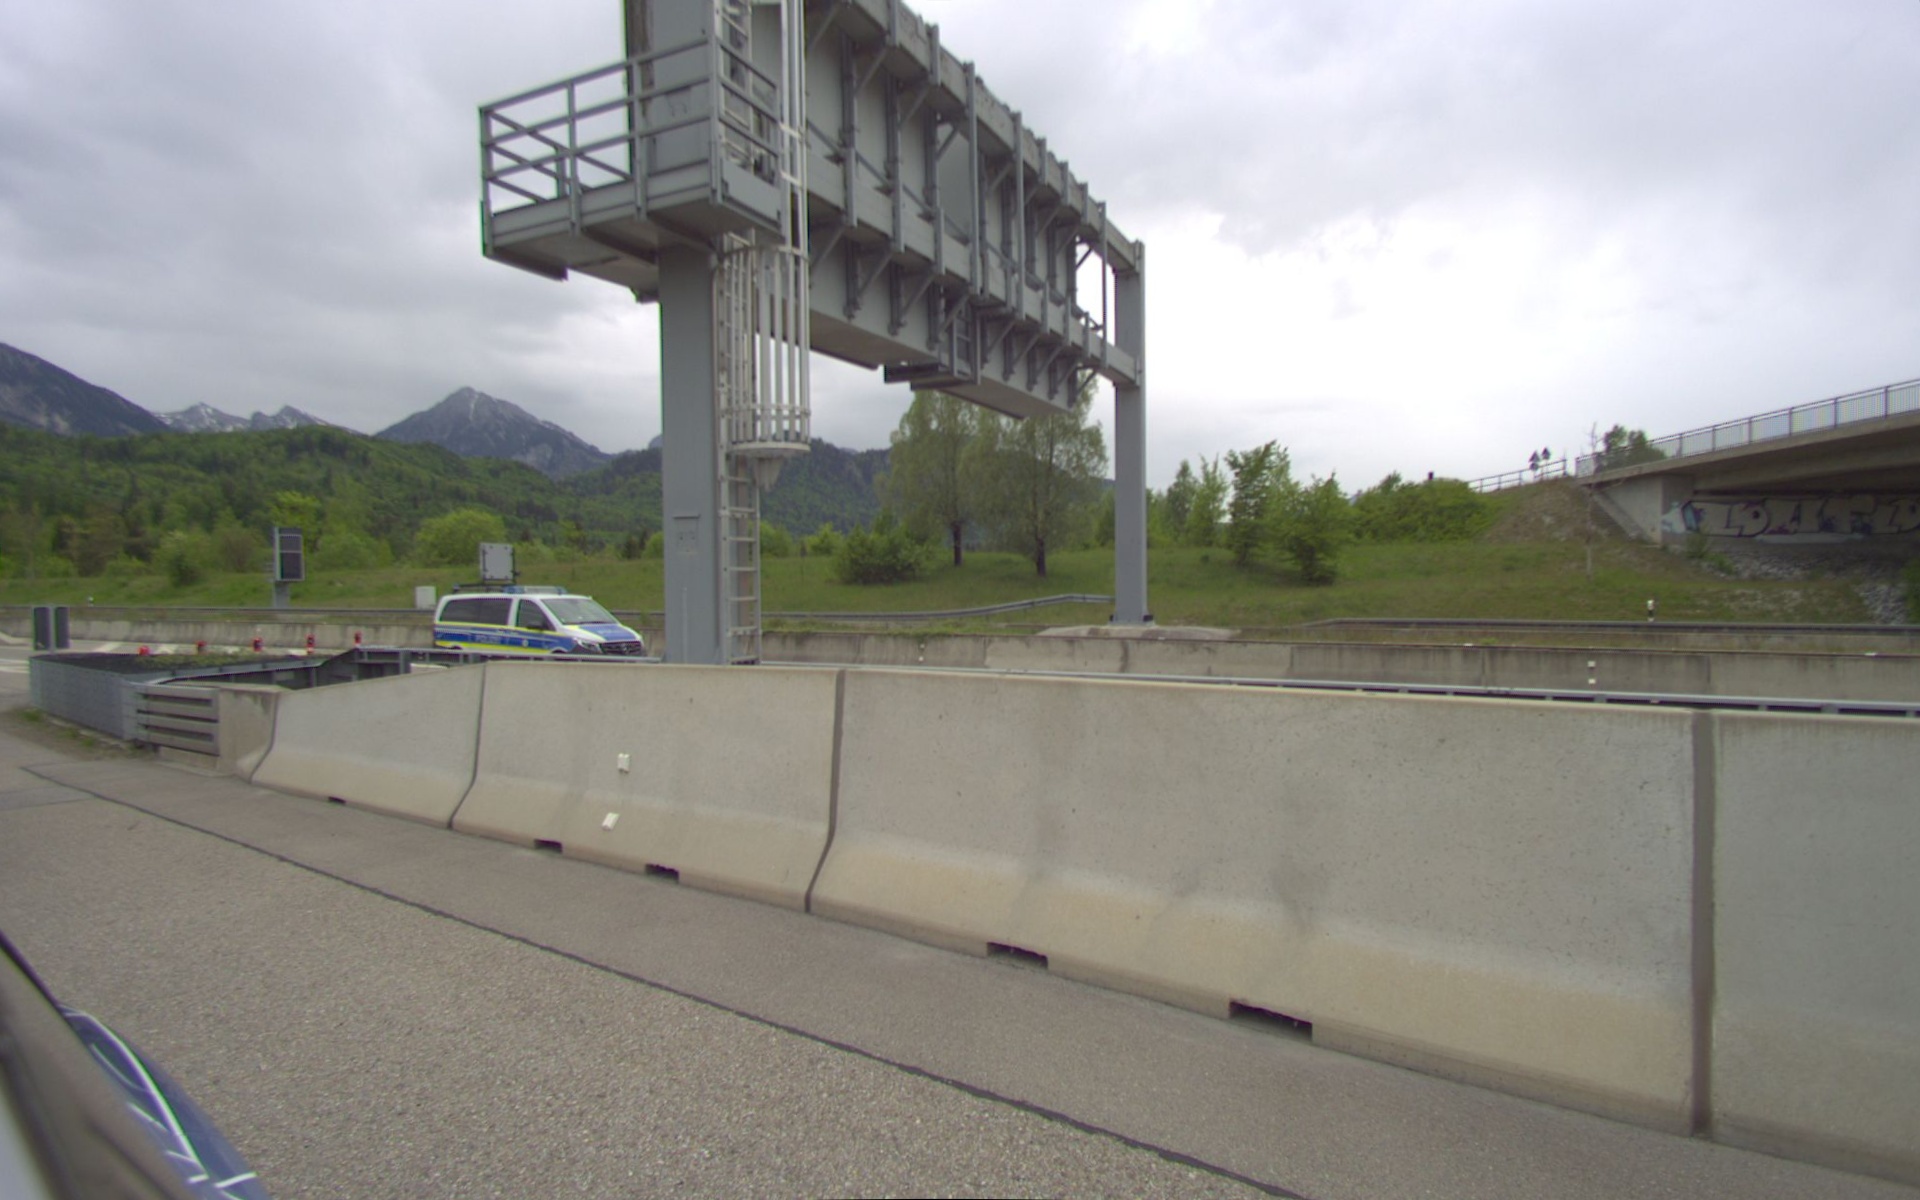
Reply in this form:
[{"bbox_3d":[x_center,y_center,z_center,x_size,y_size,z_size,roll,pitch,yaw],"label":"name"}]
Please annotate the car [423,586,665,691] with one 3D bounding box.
[{"bbox_3d":[-8.955,0.770,21.701,5.028,2.029,2.085,0,-1,28],"label":"car"}]
